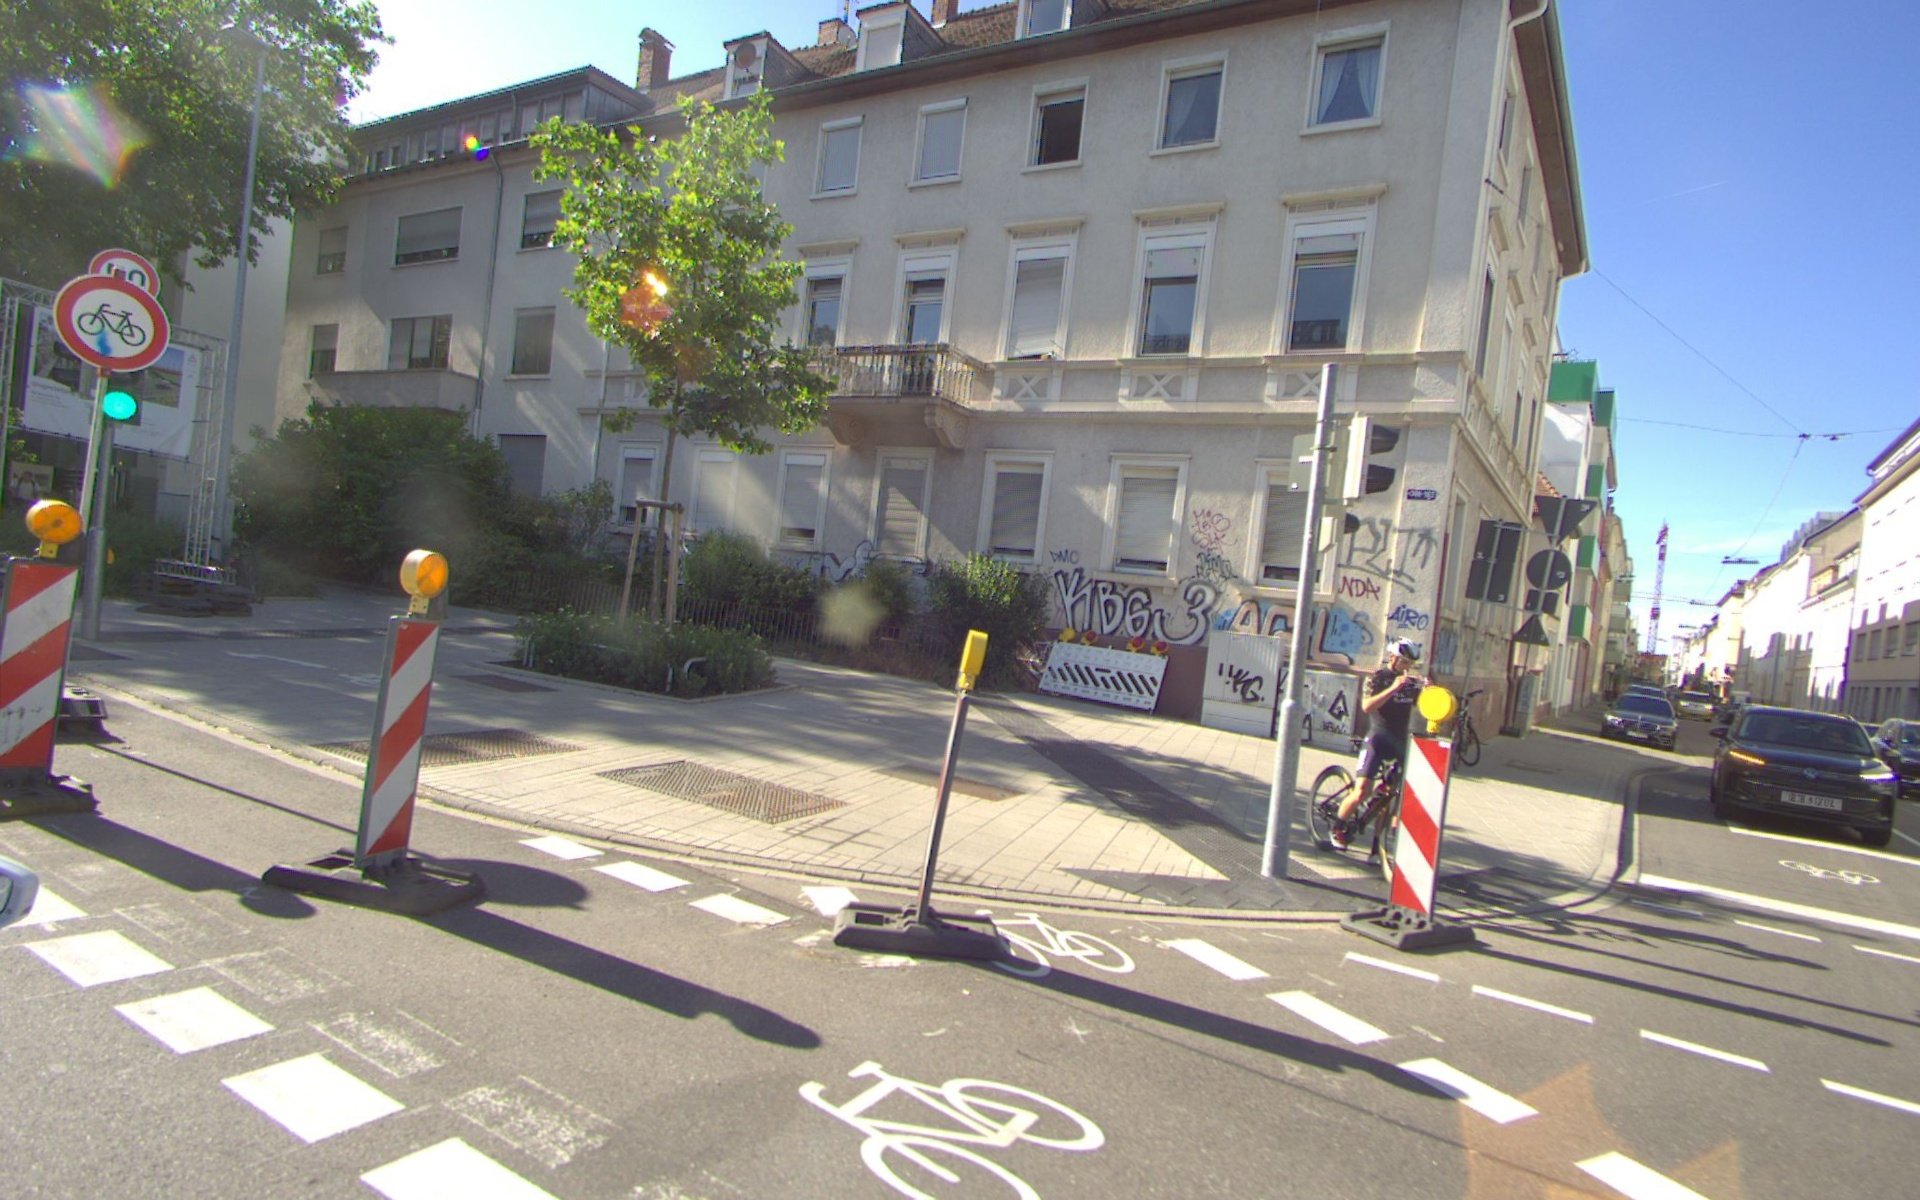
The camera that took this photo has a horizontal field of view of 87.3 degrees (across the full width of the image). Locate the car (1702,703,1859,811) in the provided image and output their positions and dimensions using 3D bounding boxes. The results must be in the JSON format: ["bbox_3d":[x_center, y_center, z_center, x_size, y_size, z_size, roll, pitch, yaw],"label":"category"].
[{"bbox_3d":[15.886,2.954,19.693,1.969,1.583,4.113,7,-1,36],"label":"car"}]

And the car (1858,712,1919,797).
[{"bbox_3d":[22.594,3.643,23.360,1.969,1.734,3.988,7,0,35],"label":"car"}]

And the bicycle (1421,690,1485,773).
[{"bbox_3d":[7.478,1.947,15.217,0.569,1.093,1.999,7,-1,32],"label":"bicycle"}]

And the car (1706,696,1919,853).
[{"bbox_3d":[12.140,2.359,14.496,1.954,1.638,4.252,6,-1,35],"label":"car"}]

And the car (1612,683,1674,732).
[{"bbox_3d":[29.241,4.579,43.065,1.969,1.734,3.988,7,0,35],"label":"car"}]

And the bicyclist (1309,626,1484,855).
[{"bbox_3d":[3.216,1.002,7.495,0.713,1.518,0.870,7,1,-4],"label":"bicyclist"}]

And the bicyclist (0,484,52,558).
[{"bbox_3d":[-25.434,-2.143,27.355,1.053,1.843,0.725,7,1,32],"label":"bicyclist"}]

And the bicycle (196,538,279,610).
[{"bbox_3d":[-11.554,-0.423,16.156,0.581,1.017,2.119,7,0,-24],"label":"bicycle"}]

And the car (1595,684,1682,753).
[{"bbox_3d":[21.171,3.642,31.377,1.969,1.734,3.988,7,0,35],"label":"car"}]

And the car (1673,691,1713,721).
[{"bbox_3d":[50.000,7.210,68.662,1.969,1.734,3.988,7,0,35],"label":"car"}]

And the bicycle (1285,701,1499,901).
[{"bbox_3d":[3.186,1.443,7.624,0.678,1.111,1.685,7,0,-4],"label":"bicycle"}]
